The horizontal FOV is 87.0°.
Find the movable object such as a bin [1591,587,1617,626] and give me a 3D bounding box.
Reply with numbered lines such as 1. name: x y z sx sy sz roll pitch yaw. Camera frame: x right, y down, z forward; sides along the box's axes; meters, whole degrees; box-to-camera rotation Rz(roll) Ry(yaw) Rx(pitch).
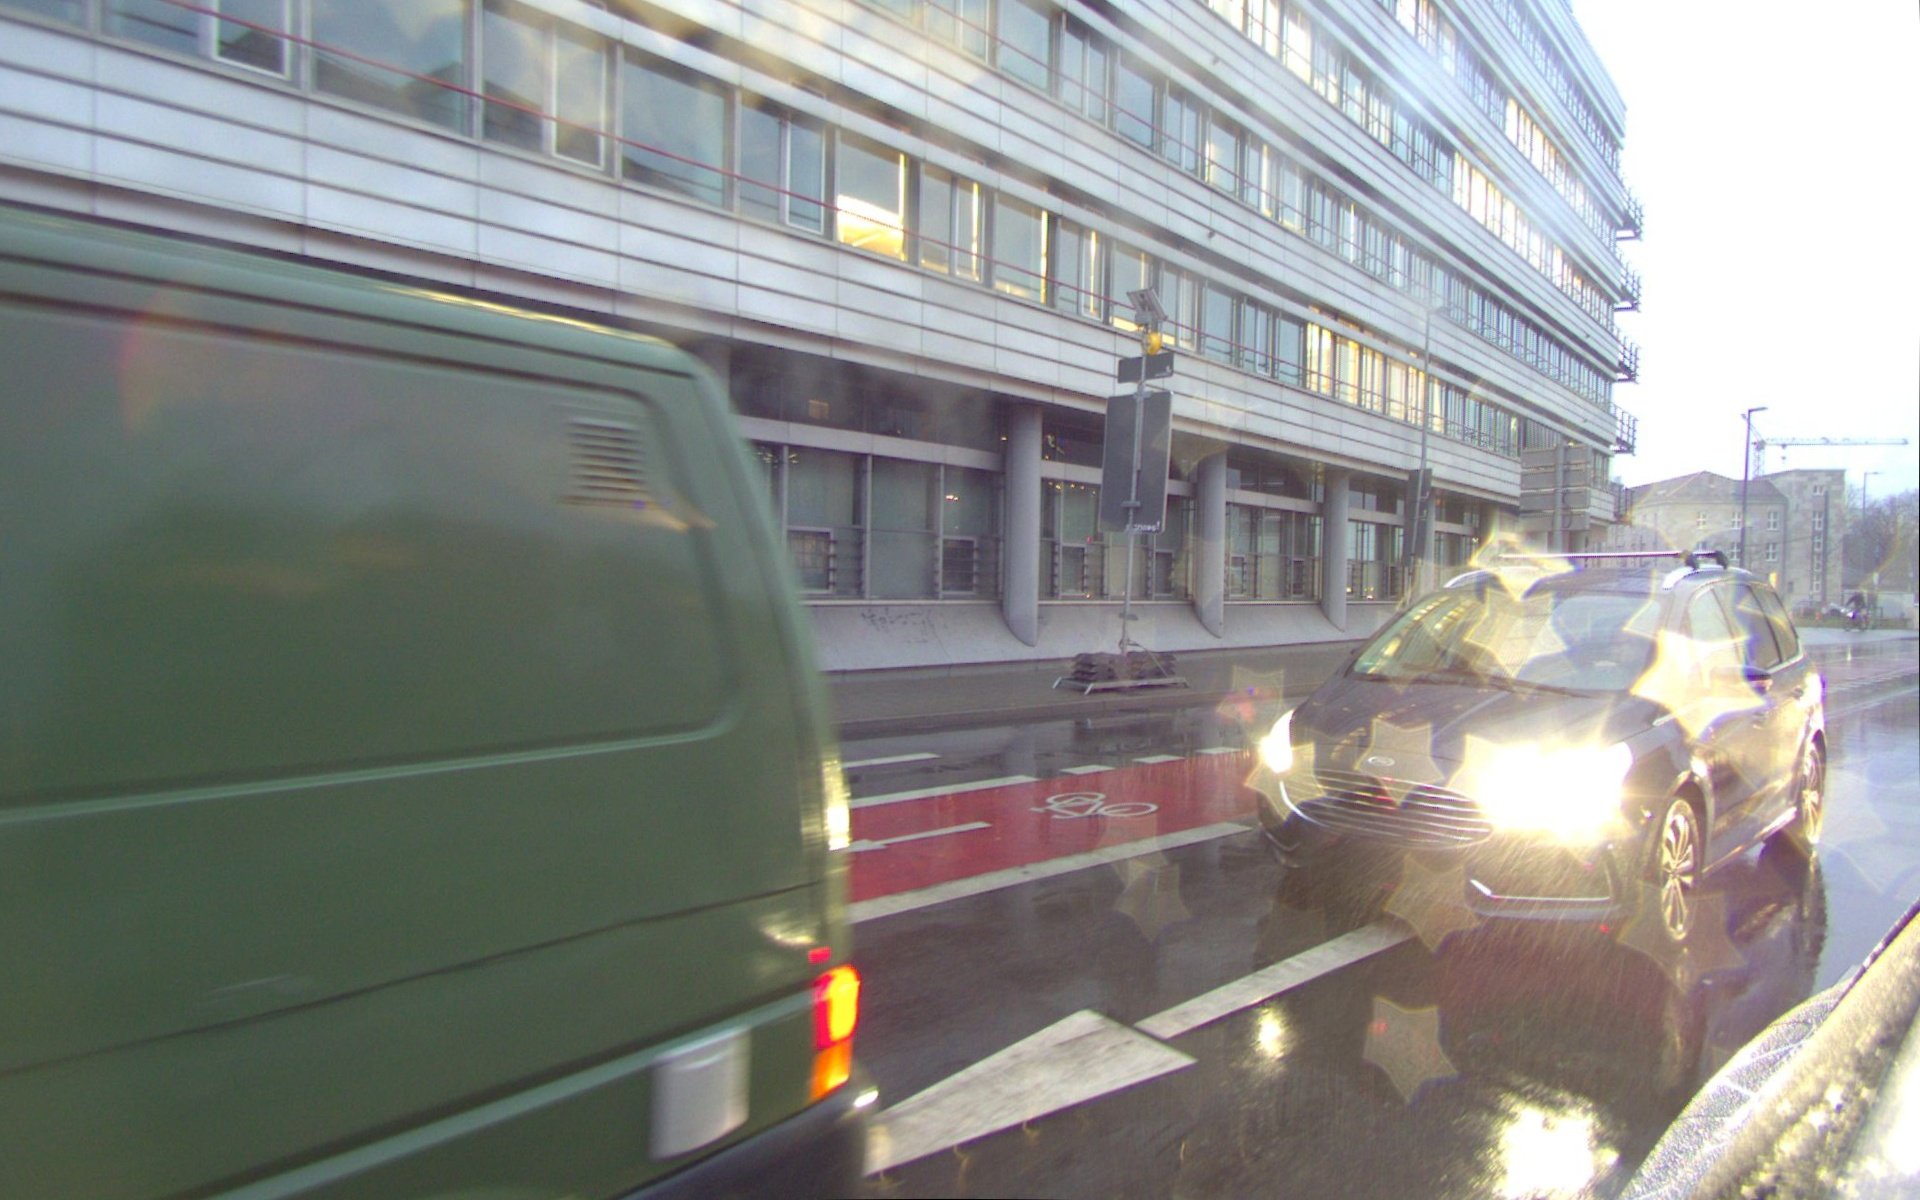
1. movable object such as a bin: 25.432 0.250 39.986 0.826 1.495 0.665 0 1 -44

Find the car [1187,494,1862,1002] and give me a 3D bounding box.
1. car: 3.507 0.527 5.857 4.587 1.834 1.887 0 0 -40

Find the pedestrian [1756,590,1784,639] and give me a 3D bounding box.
1. pedestrian: 28.811 0.505 35.991 0.870 1.689 0.615 0 3 -44

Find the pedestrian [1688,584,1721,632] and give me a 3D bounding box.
1. pedestrian: 27.848 0.281 37.831 0.953 1.722 0.746 0 4 -44

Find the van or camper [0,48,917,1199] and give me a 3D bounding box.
1. van or camper: -2.275 0.471 0.818 4.341 1.931 1.760 0 0 -41

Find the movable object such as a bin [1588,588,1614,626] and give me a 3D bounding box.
1. movable object such as a bin: 24.858 0.250 39.251 0.826 1.446 0.665 0 1 -44

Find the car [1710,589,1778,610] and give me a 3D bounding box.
1. car: 70.390 -0.095 90.968 1.958 1.782 4.386 1 1 -24

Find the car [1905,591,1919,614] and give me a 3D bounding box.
1. car: 75.922 0.245 78.133 1.743 1.730 3.932 0 1 -26

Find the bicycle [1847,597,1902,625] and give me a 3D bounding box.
1. bicycle: 42.863 0.519 47.456 1.735 1.213 0.679 2 1 14

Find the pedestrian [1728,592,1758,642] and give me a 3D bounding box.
1. pedestrian: 28.203 0.596 36.439 0.870 1.723 0.650 0 3 -44

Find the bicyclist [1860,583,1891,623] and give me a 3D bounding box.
1. bicyclist: 42.894 0.127 47.431 0.794 1.820 0.669 1 1 13

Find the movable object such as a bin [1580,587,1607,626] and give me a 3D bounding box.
1. movable object such as a bin: 24.199 0.233 38.666 0.826 1.446 0.665 0 1 -44

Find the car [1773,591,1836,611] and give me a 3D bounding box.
1. car: 72.208 0.063 86.595 1.743 1.556 3.775 1 1 -24

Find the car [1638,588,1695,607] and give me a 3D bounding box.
1. car: 67.931 -0.273 97.402 1.958 1.693 4.013 1 1 -25
